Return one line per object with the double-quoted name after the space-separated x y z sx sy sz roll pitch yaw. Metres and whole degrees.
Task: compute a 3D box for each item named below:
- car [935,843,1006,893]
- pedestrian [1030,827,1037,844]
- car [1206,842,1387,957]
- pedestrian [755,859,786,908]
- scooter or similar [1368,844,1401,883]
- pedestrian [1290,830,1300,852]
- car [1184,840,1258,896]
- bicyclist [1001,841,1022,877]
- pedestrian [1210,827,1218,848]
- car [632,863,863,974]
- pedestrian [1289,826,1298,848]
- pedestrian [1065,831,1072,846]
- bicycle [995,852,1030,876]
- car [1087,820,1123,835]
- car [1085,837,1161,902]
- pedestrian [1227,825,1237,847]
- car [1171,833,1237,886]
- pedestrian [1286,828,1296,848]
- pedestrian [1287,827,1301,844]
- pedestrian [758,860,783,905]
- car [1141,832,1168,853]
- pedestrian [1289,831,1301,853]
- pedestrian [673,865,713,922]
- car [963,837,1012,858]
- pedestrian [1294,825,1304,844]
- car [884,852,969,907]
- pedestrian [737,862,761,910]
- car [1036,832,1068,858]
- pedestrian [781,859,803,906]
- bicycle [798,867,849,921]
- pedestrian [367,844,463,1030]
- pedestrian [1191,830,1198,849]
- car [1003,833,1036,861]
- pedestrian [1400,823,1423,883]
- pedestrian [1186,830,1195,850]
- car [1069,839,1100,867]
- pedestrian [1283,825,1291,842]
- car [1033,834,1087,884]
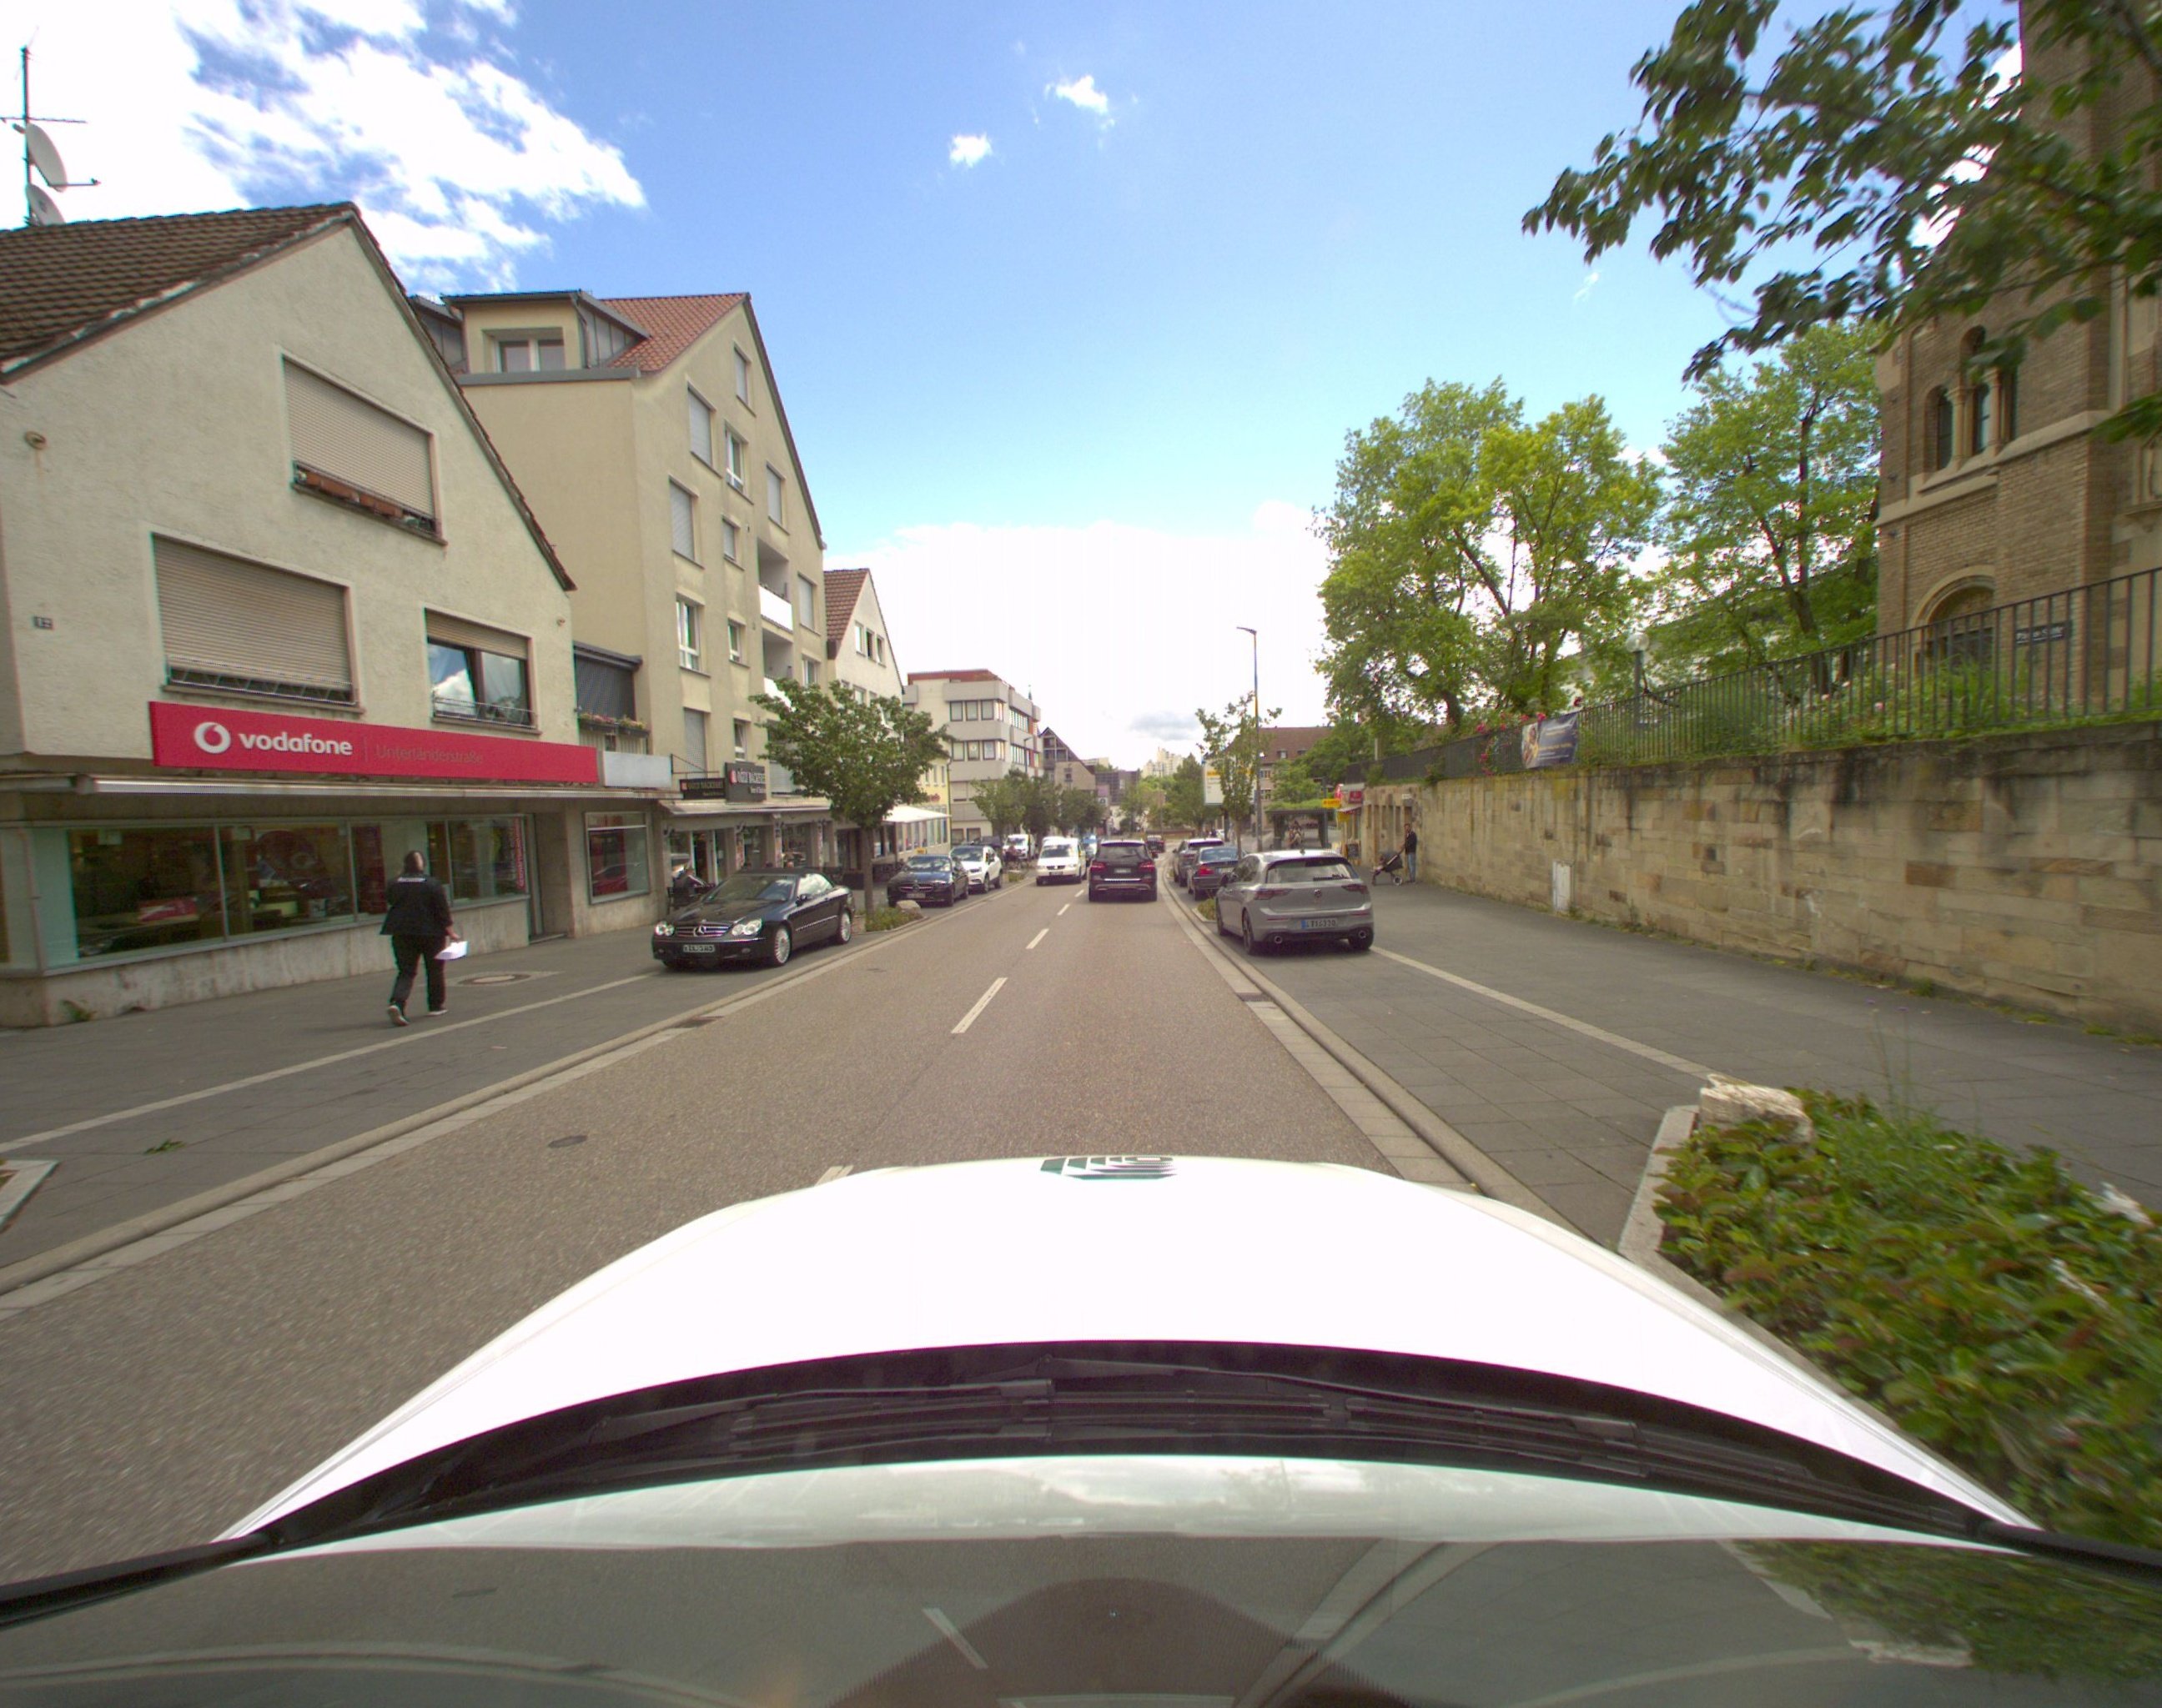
-3.921 0.436 29.582 1.658 1.646 4.140 0 1 5 "car"
-4.743 -1.845 80.936 0.507 1.566 0.588 -3 2 8 "pedestrian"
3.162 0.603 12.807 1.748 1.441 4.090 -3 0 1 "car"
-8.239 0.770 21.651 0.547 1.267 0.599 -1 1 2 "pedestrian"
8.702 0.280 23.363 0.806 1.072 0.562 -3 0 14 "scooter or similar"
13.444 -0.805 51.205 0.492 1.320 0.577 -2 4 11 "pedestrian"
3.930 0.384 23.496 1.673 1.417 4.377 -2 0 4 "car"
-3.435 0.235 40.228 0.781 1.694 0.505 -4 1 -32 "bicyclist"
10.811 -1.354 66.148 0.508 1.680 0.578 -3 2 8 "pedestrian"
-5.077 0.890 13.156 1.650 1.392 4.448 -1 0 3 "car"
13.524 -1.072 51.829 0.495 1.320 0.527 -2 4 12 "pedestrian"
-1.356 -1.627 87.457 0.583 1.588 0.640 0 2 9 "pedestrian"
-3.395 0.483 40.251 1.660 1.087 0.409 -4 2 -33 "bicycle"
4.336 -4.789 148.837 6.293 2.560 2.196 0 -1 -14 "car"
1.172 0.408 24.131 2.020 1.727 4.433 -1 0 1 "car"
12.073 -1.440 65.073 0.679 1.682 0.718 -2 1 18 "pedestrian"
4.405 0.133 29.832 1.920 1.724 4.578 -2 1 3 "car"
13.522 -1.042 52.466 0.564 1.261 0.543 -2 4 12 "pedestrian"
15.966 -1.392 61.031 0.761 1.269 0.681 0 2 38 "pedestrian"
-8.860 0.813 23.253 0.425 1.249 0.567 -1 1 2 "pedestrian"
6.166 -0.978 68.637 2.044 1.588 4.376 1 2 2 "car"
13.291 -0.769 50.588 0.612 1.320 0.588 -2 4 11 "pedestrian"
-8.877 0.899 18.649 0.593 1.246 0.599 -1 1 2 "pedestrian"
-7.381 -0.532 64.396 3.615 1.558 1.669 -1 2 0 "car"
15.274 -1.371 57.134 0.619 1.307 0.548 -3 2 11 "pedestrian"
-4.508 0.683 24.396 1.835 1.451 4.511 0 1 -3 "car"
-8.865 0.856 21.763 0.393 1.249 0.500 -1 1 2 "pedestrian"
-1.884 -0.632 54.441 1.649 1.671 4.356 0 2 4 "car"
-8.202 0.808 23.149 0.419 1.299 0.454 -1 1 2 "pedestrian"
-5.860 0.881 18.617 0.482 1.107 1.909 -1 1 2 "bicycle"
-6.720 0.788 8.253 0.665 1.761 0.769 -1 0 -35 "pedestrian"
9.571 -1.251 68.894 0.497 1.565 0.499 -3 2 7 "pedestrian"
-4.270 -0.532 56.867 1.749 1.813 4.480 0 2 2 "car"
9.375 -0.032 23.080 0.469 1.645 0.508 -3 0 14 "pedestrian"
8.915 -1.149 66.461 0.508 1.549 0.490 -2 2 34 "pedestrian"
0.241 -0.092 48.640 1.599 1.388 3.634 -3 3 4 "car"
16.226 -1.601 64.241 0.563 1.323 0.548 -1 2 17 "pedestrian"
-0.794 0.178 33.339 1.739 1.802 4.216 -4 0 3 "car"
